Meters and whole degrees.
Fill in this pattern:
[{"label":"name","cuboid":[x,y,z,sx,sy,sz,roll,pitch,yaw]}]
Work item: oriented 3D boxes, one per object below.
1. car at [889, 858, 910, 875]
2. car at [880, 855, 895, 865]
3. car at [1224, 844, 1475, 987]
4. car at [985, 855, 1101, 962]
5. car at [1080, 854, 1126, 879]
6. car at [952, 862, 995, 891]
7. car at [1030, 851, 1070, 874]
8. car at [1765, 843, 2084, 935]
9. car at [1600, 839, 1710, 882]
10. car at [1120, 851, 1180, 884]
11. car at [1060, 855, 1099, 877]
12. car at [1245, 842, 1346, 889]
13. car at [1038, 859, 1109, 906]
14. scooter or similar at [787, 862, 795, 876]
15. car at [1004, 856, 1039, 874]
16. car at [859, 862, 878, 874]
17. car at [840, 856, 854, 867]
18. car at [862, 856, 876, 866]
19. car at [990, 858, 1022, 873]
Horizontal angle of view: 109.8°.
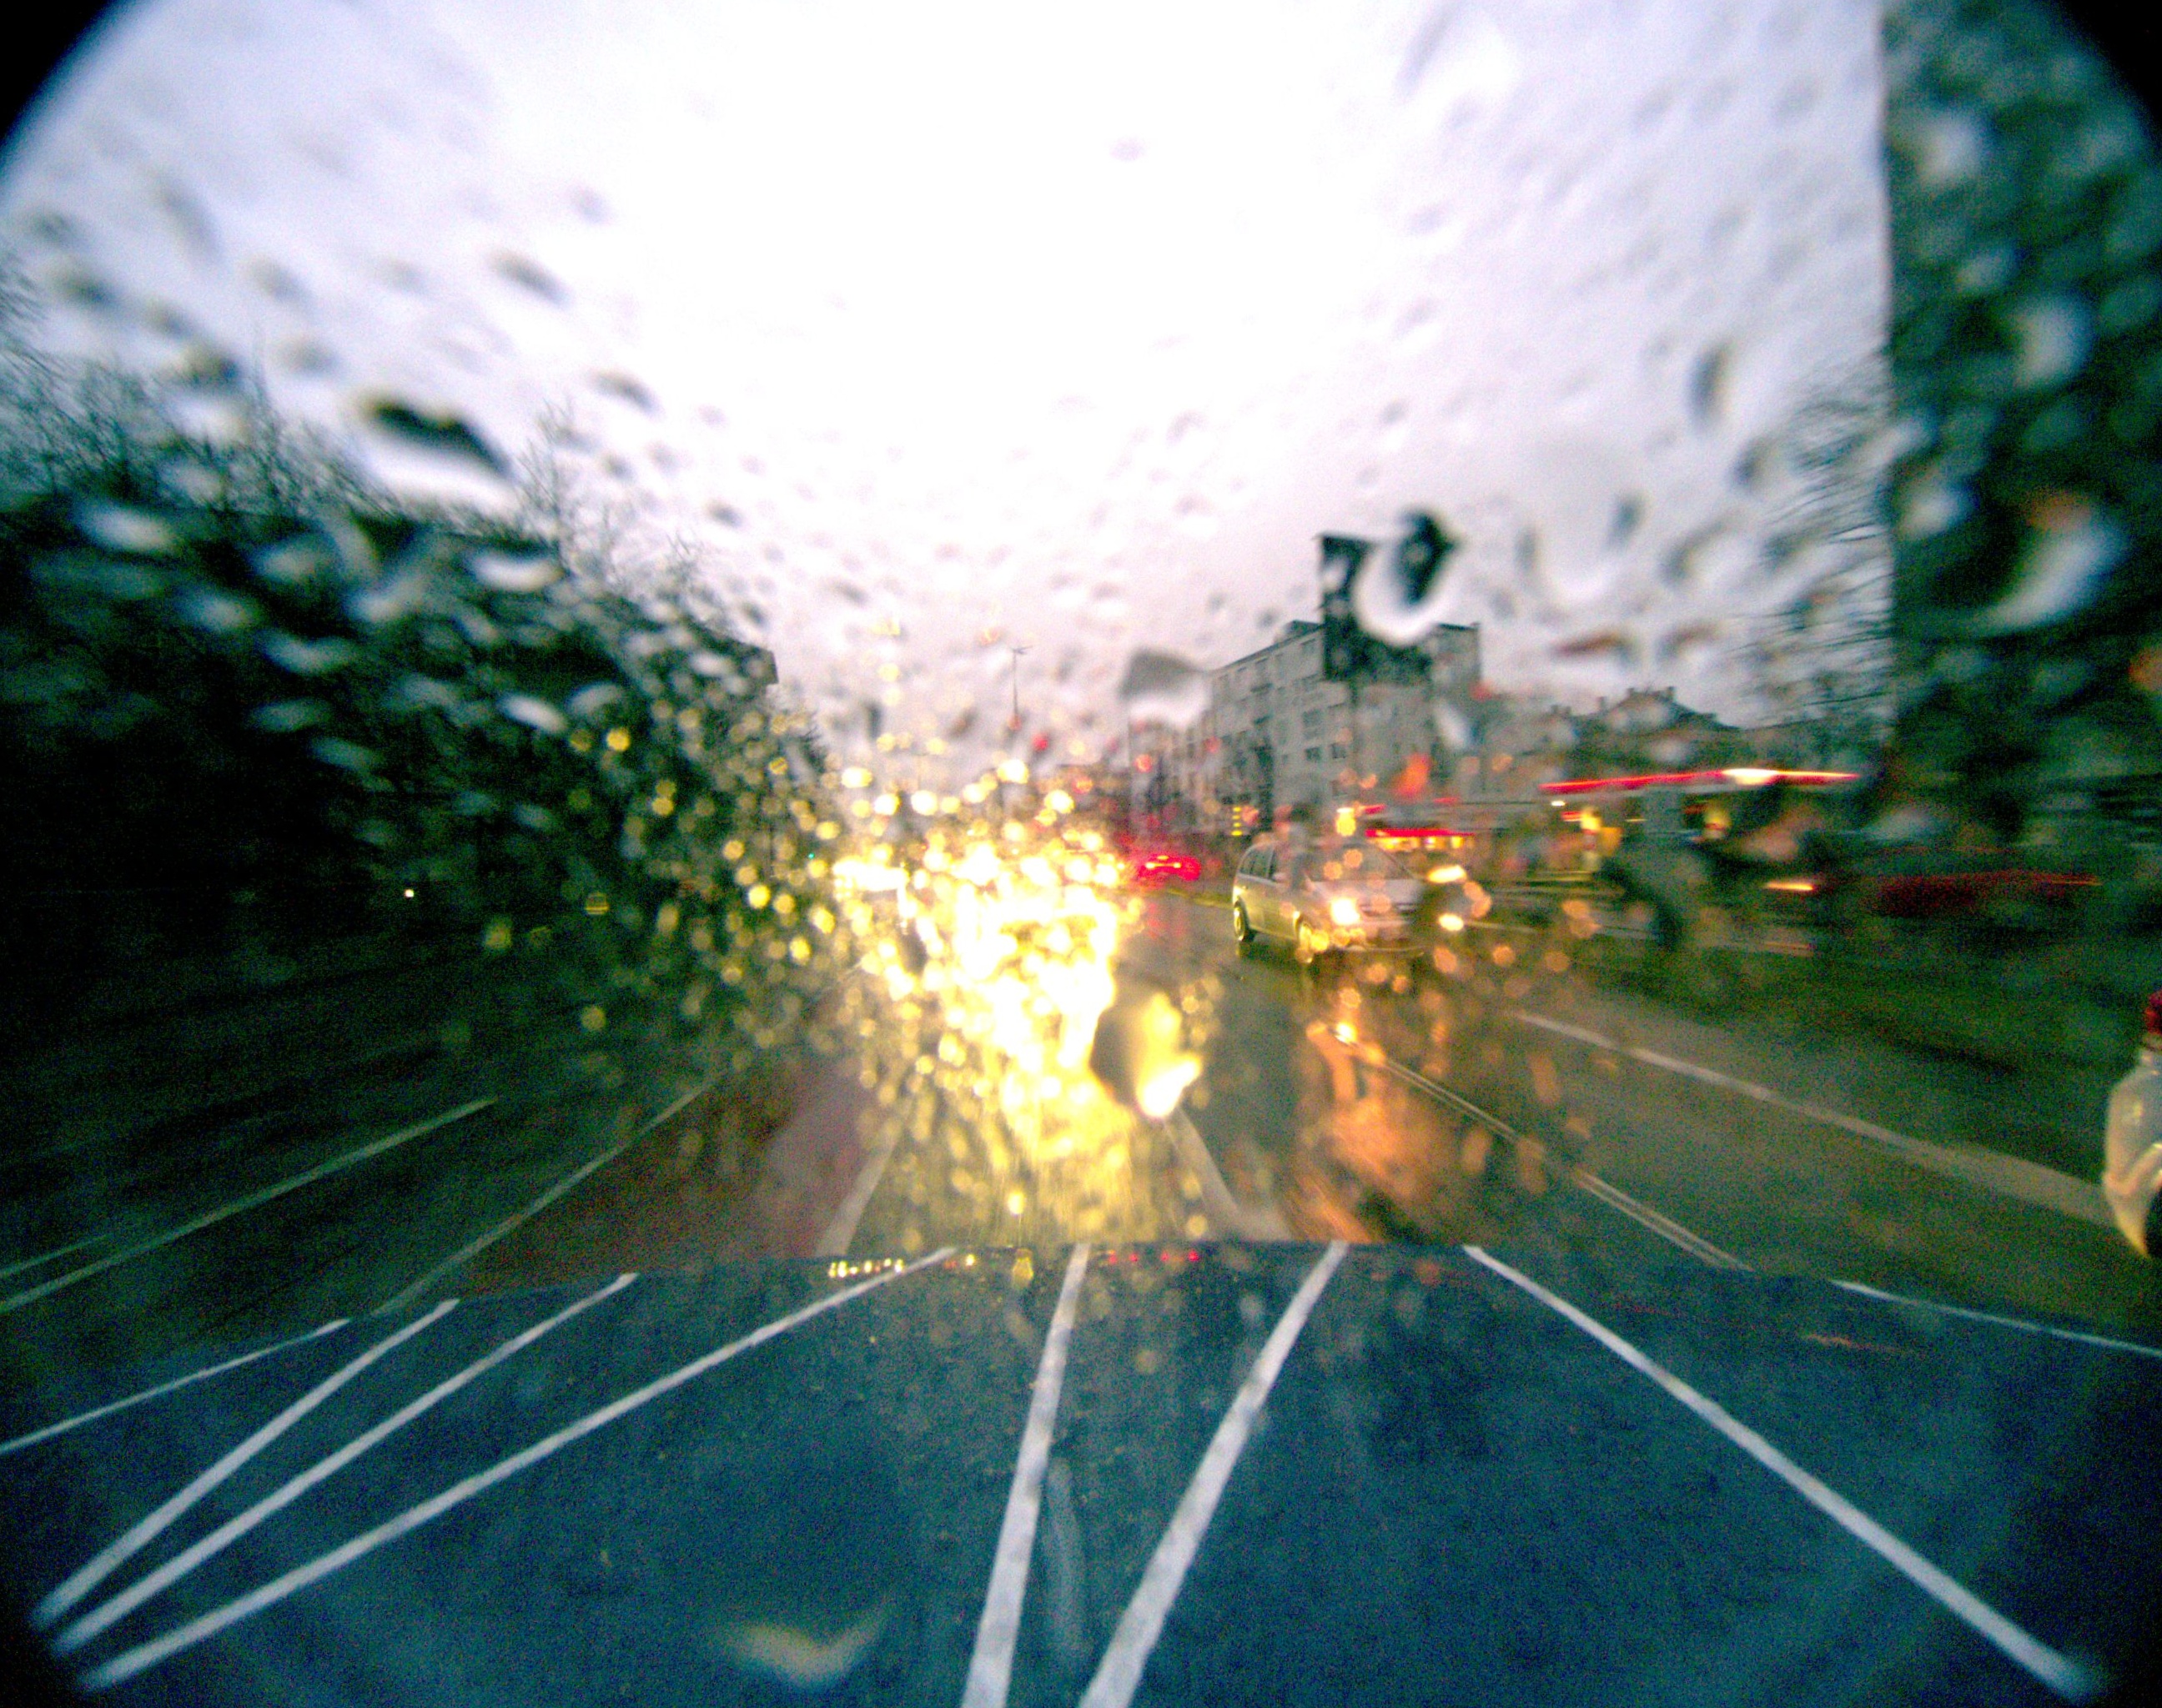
[{"label":"car","cuboid":[-22.451,1.490,94.010,2.002,2.002,3.993,-1,0,-21]},{"label":"car","cuboid":[-32.758,1.005,128.420,2.002,1.599,3.994,-2,0,-19]},{"label":"car","cuboid":[3.400,0.674,10.522,1.650,1.539,4.107,-2,0,-6]},{"label":"car","cuboid":[-0.821,0.848,13.762,1.651,1.575,3.801,-2,1,-9]},{"label":"car","cuboid":[1.330,0.770,47.697,1.652,1.478,4.138,-1,0,-17]},{"label":"car","cuboid":[-6.791,1.360,47.793,1.822,1.732,4.179,-1,0,-20]},{"label":"car","cuboid":[-2.544,0.679,61.013,1.971,1.772,4.526,-1,0,-20]},{"label":"car","cuboid":[15.466,0.585,14.230,1.652,1.441,3.840,-3,1,-44]},{"label":"car","cuboid":[22.261,0.222,29.459,4.005,1.521,1.776,-1,0,-25]},{"label":"car","cuboid":[3.573,0.692,40.207,1.651,1.620,4.654,-1,0,-14]},{"label":"car","cuboid":[-0.174,0.841,53.405,1.652,1.478,3.994,-1,0,-17]},{"label":"car","cuboid":[9.393,0.494,33.713,2.001,1.934,4.847,1,0,-16]},{"label":"car","cuboid":[-0.340,0.979,27.539,1.755,1.535,3.995,-1,0,-13]},{"label":"scooter or similar","cuboid":[-24.596,1.283,64.470,0.442,1.196,1.079,-2,0,-28]},{"label":"car","cuboid":[-5.374,0.954,67.677,1.971,1.505,4.526,-1,0,-20]},{"label":"car","cuboid":[-26.499,1.770,94.721,1.971,1.378,4.526,-1,0,-20]},{"label":"car","cuboid":[-39.079,1.203,126.735,2.002,1.686,3.994,-2,0,-19]},{"label":"car","cuboid":[-35.650,1.154,127.886,2.002,1.526,3.994,-2,0,-19]},{"label":"car","cuboid":[-7.239,1.096,72.891,1.971,1.378,4.526,-1,0,-20]}]
